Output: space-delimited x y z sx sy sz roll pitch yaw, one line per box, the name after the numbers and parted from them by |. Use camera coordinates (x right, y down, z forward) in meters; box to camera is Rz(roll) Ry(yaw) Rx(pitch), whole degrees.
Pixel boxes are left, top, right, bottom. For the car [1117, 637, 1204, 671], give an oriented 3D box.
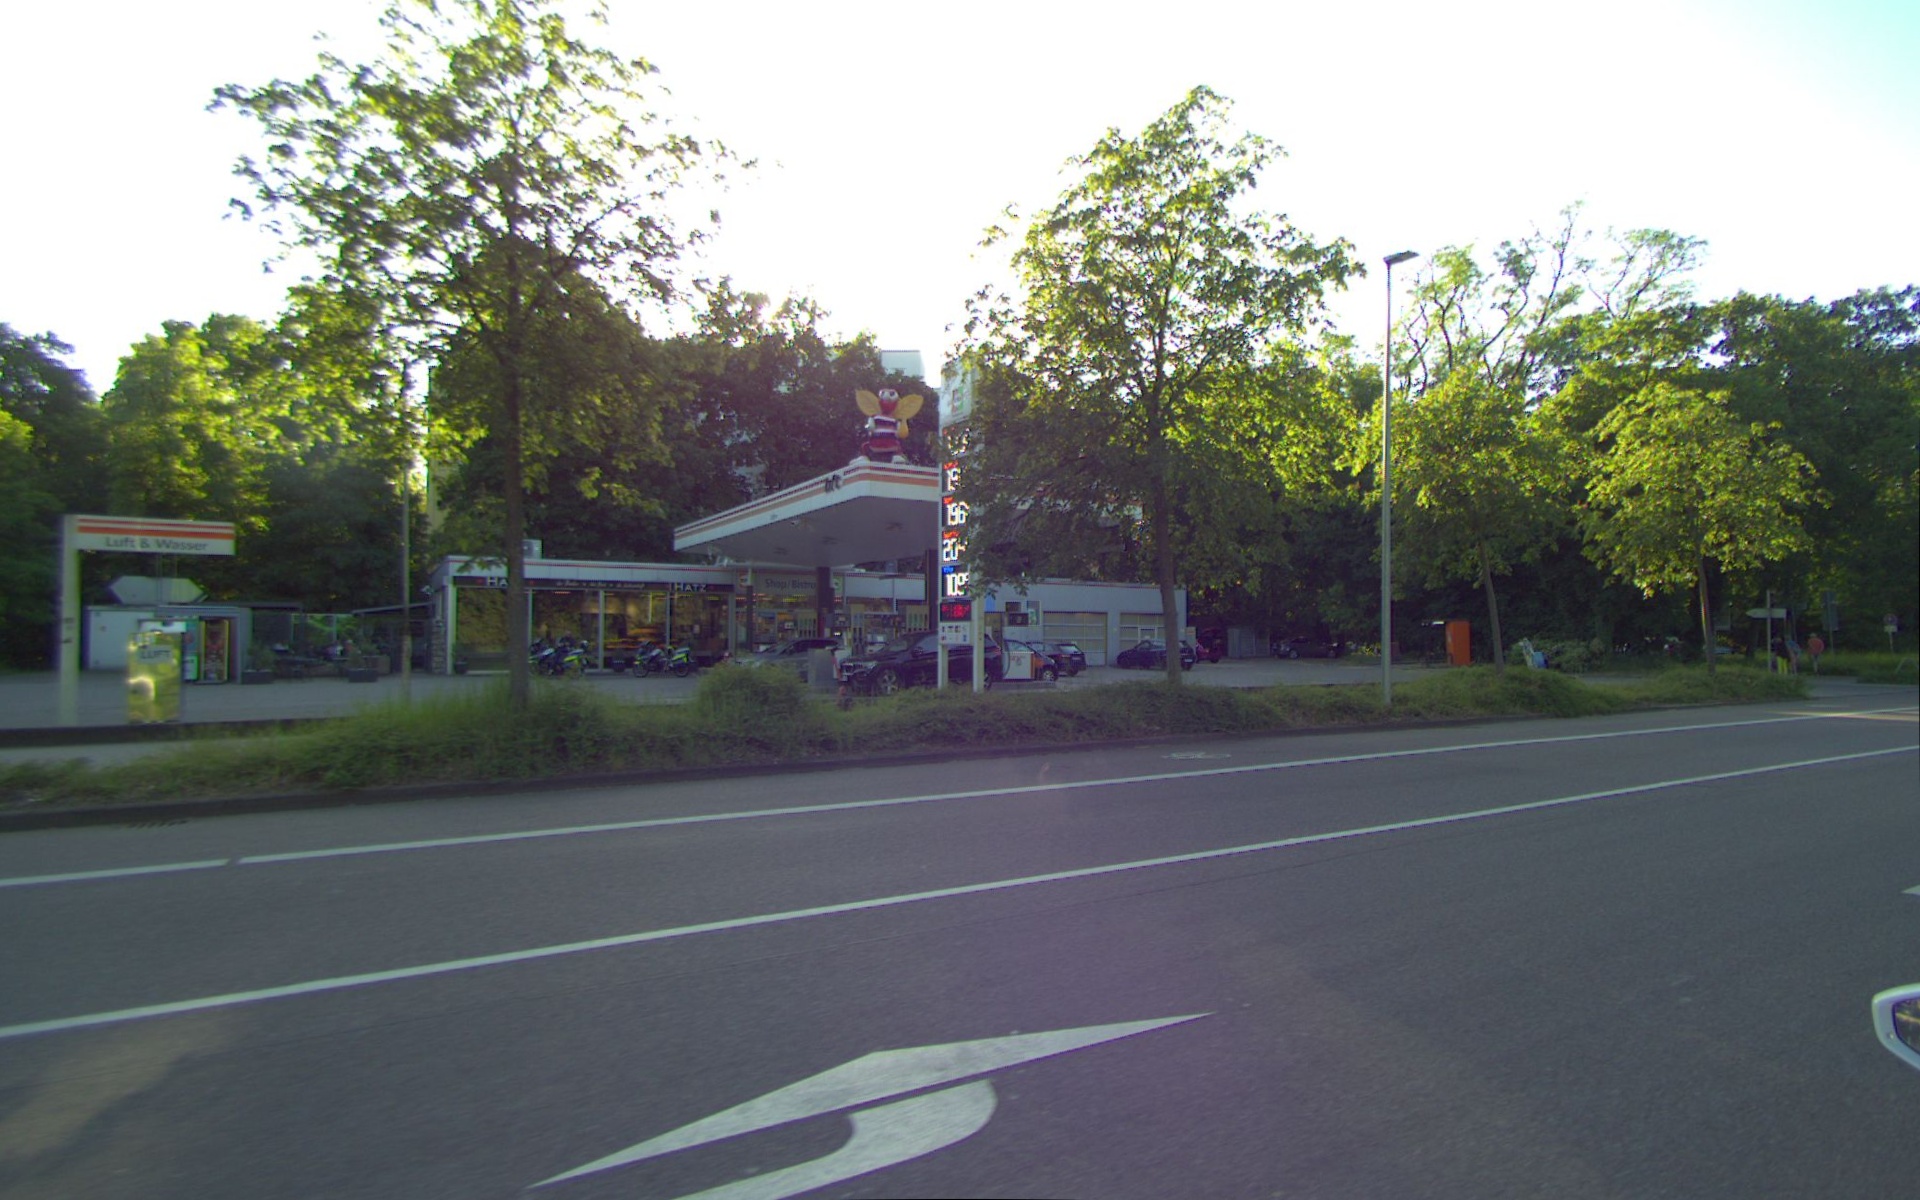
9.638 2.586 48.446 1.880 1.576 3.962 1 -3 -34 | car

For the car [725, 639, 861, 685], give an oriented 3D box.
-5.351 1.955 32.398 4.014 1.394 1.702 1 -3 -32 | car

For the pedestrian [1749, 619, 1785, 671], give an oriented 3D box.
31.784 1.777 39.569 0.783 2.040 0.718 0 -2 -10 | pedestrian

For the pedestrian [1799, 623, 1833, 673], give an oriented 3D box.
35.681 2.004 41.874 0.732 2.040 0.719 0 -2 1 | pedestrian

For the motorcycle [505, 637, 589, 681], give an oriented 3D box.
-14.245 2.012 34.667 2.455 1.470 1.135 0 -2 14 | motorcycle

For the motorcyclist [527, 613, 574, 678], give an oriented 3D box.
-14.128 1.562 34.656 0.996 2.211 1.124 0 -2 14 | motorcyclist

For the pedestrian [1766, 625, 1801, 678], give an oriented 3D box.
32.556 2.035 39.707 0.783 2.040 0.718 1 -2 -10 | pedestrian

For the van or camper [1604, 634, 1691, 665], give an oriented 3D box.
52.942 3.775 77.442 5.313 2.040 2.000 3 -1 -1 | van or camper

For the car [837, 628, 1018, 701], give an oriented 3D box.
-0.774 1.601 25.591 4.408 1.713 1.700 2 -3 -35 | car

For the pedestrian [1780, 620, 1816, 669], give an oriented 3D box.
34.779 1.845 41.699 0.857 2.040 0.719 0 -2 1 | pedestrian

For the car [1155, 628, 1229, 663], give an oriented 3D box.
13.717 2.675 59.501 1.981 2.007 3.961 1 -2 -35 | car

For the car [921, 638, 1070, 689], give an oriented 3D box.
1.153 1.955 31.521 4.526 1.518 1.702 1 -3 -31 | car

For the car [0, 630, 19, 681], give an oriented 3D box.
-31.439 1.684 30.336 3.850 1.557 1.993 1 -2 -17 | car

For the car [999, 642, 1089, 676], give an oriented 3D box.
3.490 2.431 42.139 1.705 1.371 3.586 2 -3 -44 | car

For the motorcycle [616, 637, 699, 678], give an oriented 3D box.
-10.993 2.086 36.618 2.693 1.470 1.134 0 -2 -4 | motorcycle

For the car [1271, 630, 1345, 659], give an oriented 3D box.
22.773 2.921 65.808 4.187 1.844 2.000 0 -2 -1 | car
